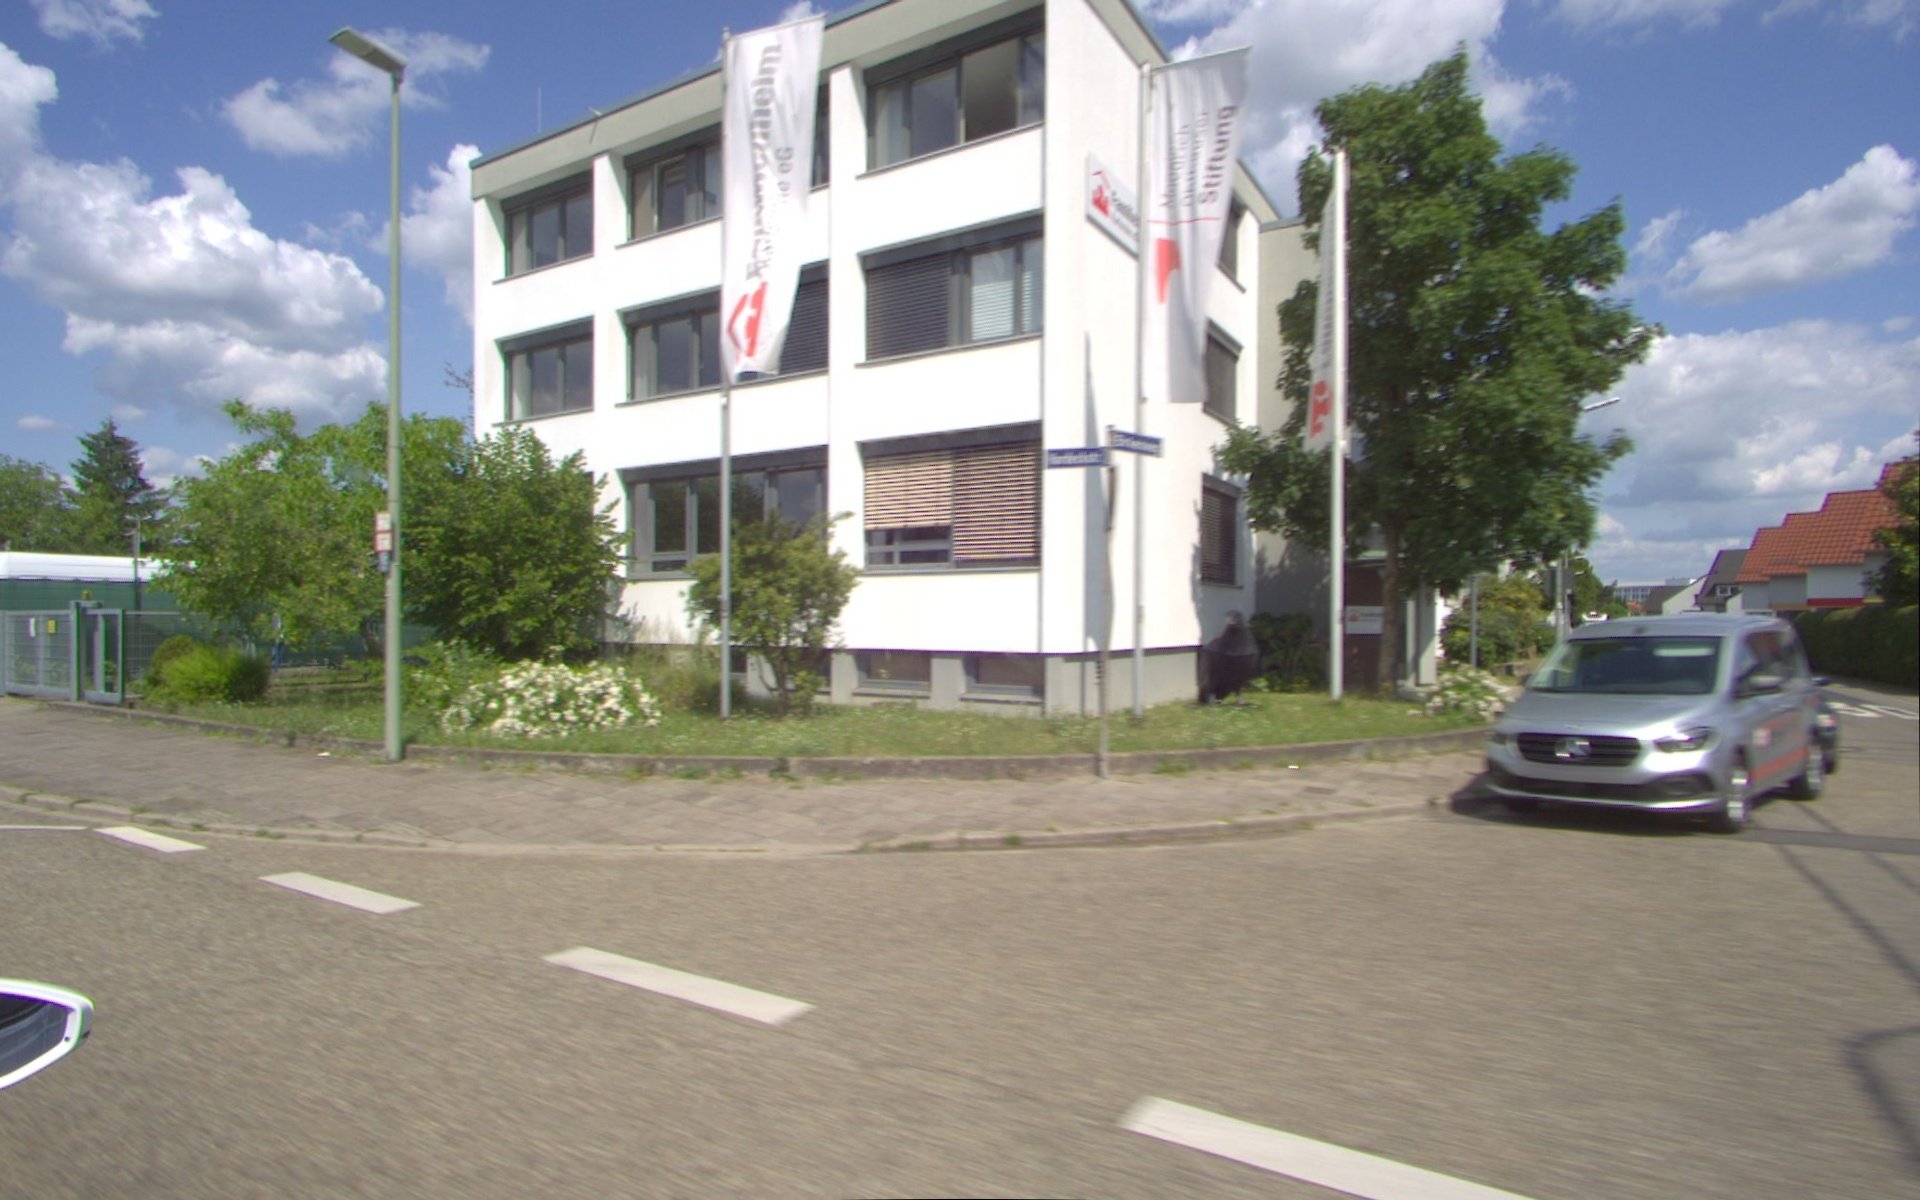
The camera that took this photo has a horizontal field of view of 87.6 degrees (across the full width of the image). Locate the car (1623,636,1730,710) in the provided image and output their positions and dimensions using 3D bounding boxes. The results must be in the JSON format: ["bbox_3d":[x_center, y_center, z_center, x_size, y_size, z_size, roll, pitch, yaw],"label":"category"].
[{"bbox_3d":[15.577,1.534,21.910,1.593,1.416,3.349,0,-1,30],"label":"car"}]

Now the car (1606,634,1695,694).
[{"bbox_3d":[18.145,1.620,26.442,1.593,1.416,4.236,0,-1,30],"label":"car"}]

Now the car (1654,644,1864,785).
[{"bbox_3d":[10.195,1.339,13.098,1.735,1.445,4.602,-2,-2,34],"label":"car"}]

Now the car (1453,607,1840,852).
[{"bbox_3d":[6.573,1.020,9.398,4.360,1.774,1.850,1,-3,-40],"label":"car"}]

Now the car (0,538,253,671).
[{"bbox_3d":[-19.411,0.135,22.952,2.039,2.686,4.908,0,-1,25],"label":"car"}]

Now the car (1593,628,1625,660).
[{"bbox_3d":[42.840,2.868,66.120,1.668,1.995,3.980,0,-1,32],"label":"car"}]
